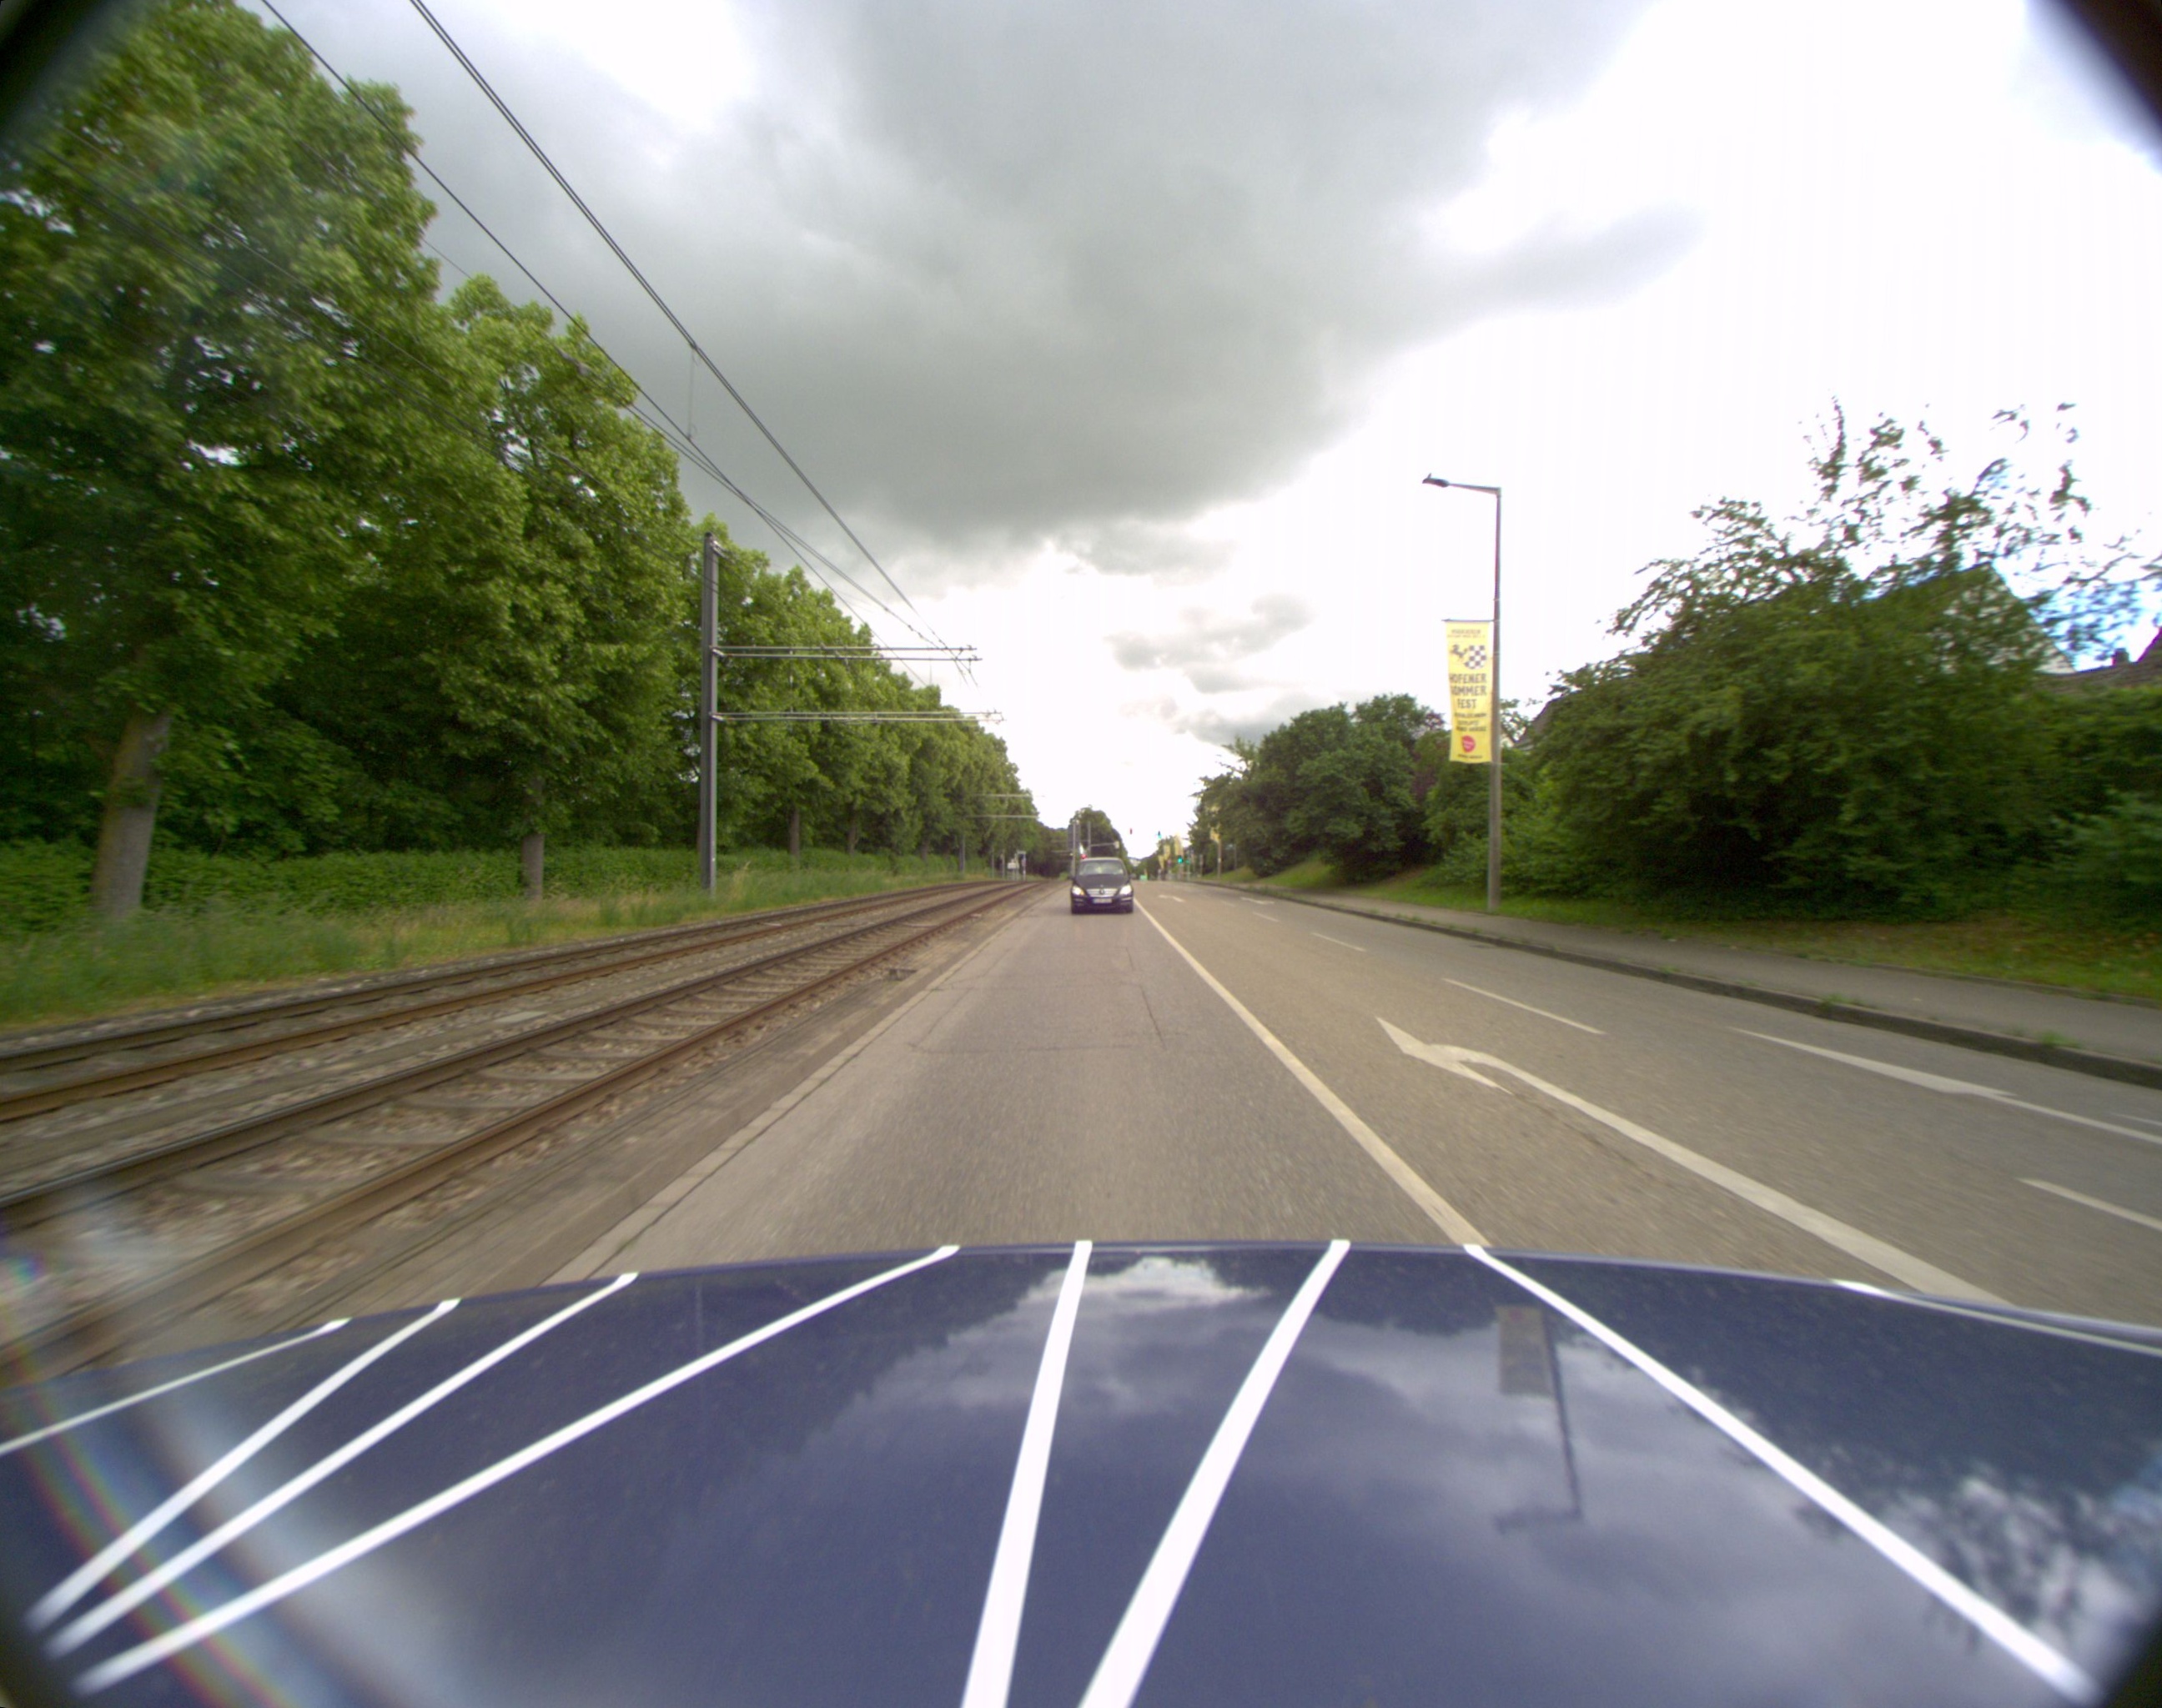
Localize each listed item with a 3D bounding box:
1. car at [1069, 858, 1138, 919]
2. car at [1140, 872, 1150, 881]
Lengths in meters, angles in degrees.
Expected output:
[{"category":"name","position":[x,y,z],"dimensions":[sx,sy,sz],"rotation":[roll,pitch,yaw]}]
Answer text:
[{"category":"car","position":[0.692,0.908,21.559],"dimensions":[1.749,1.558,4.122],"rotation":[0,0,3]},{"category":"car","position":[14.945,5.257,177.699],"dimensions":[2.063,1.799,4.732],"rotation":[1,-1,3]}]
